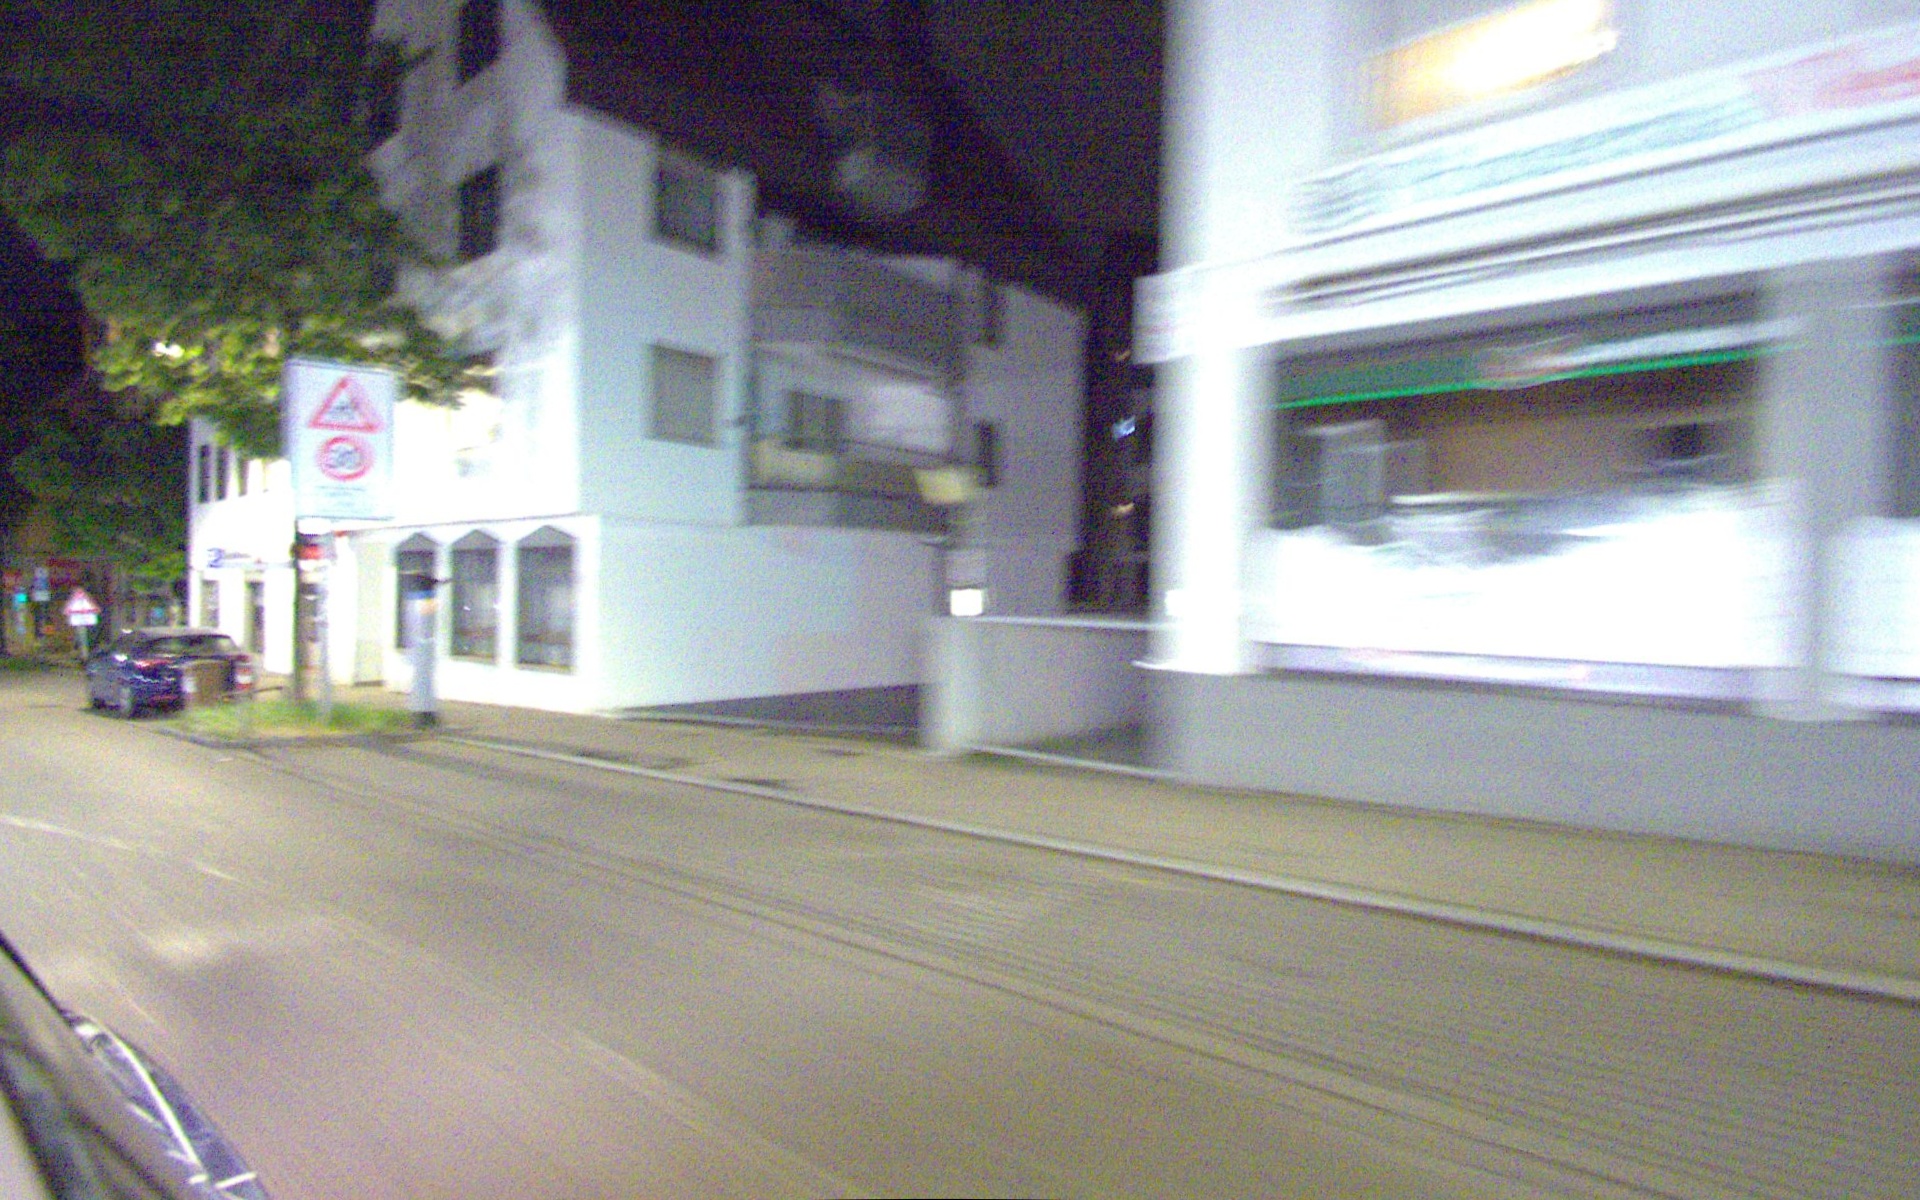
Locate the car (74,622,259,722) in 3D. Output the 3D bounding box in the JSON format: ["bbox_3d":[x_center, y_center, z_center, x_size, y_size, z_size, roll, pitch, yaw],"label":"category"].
[{"bbox_3d":[-14.042,1.174,17.819,4.287,1.497,1.709,-1,0,40],"label":"car"}]
